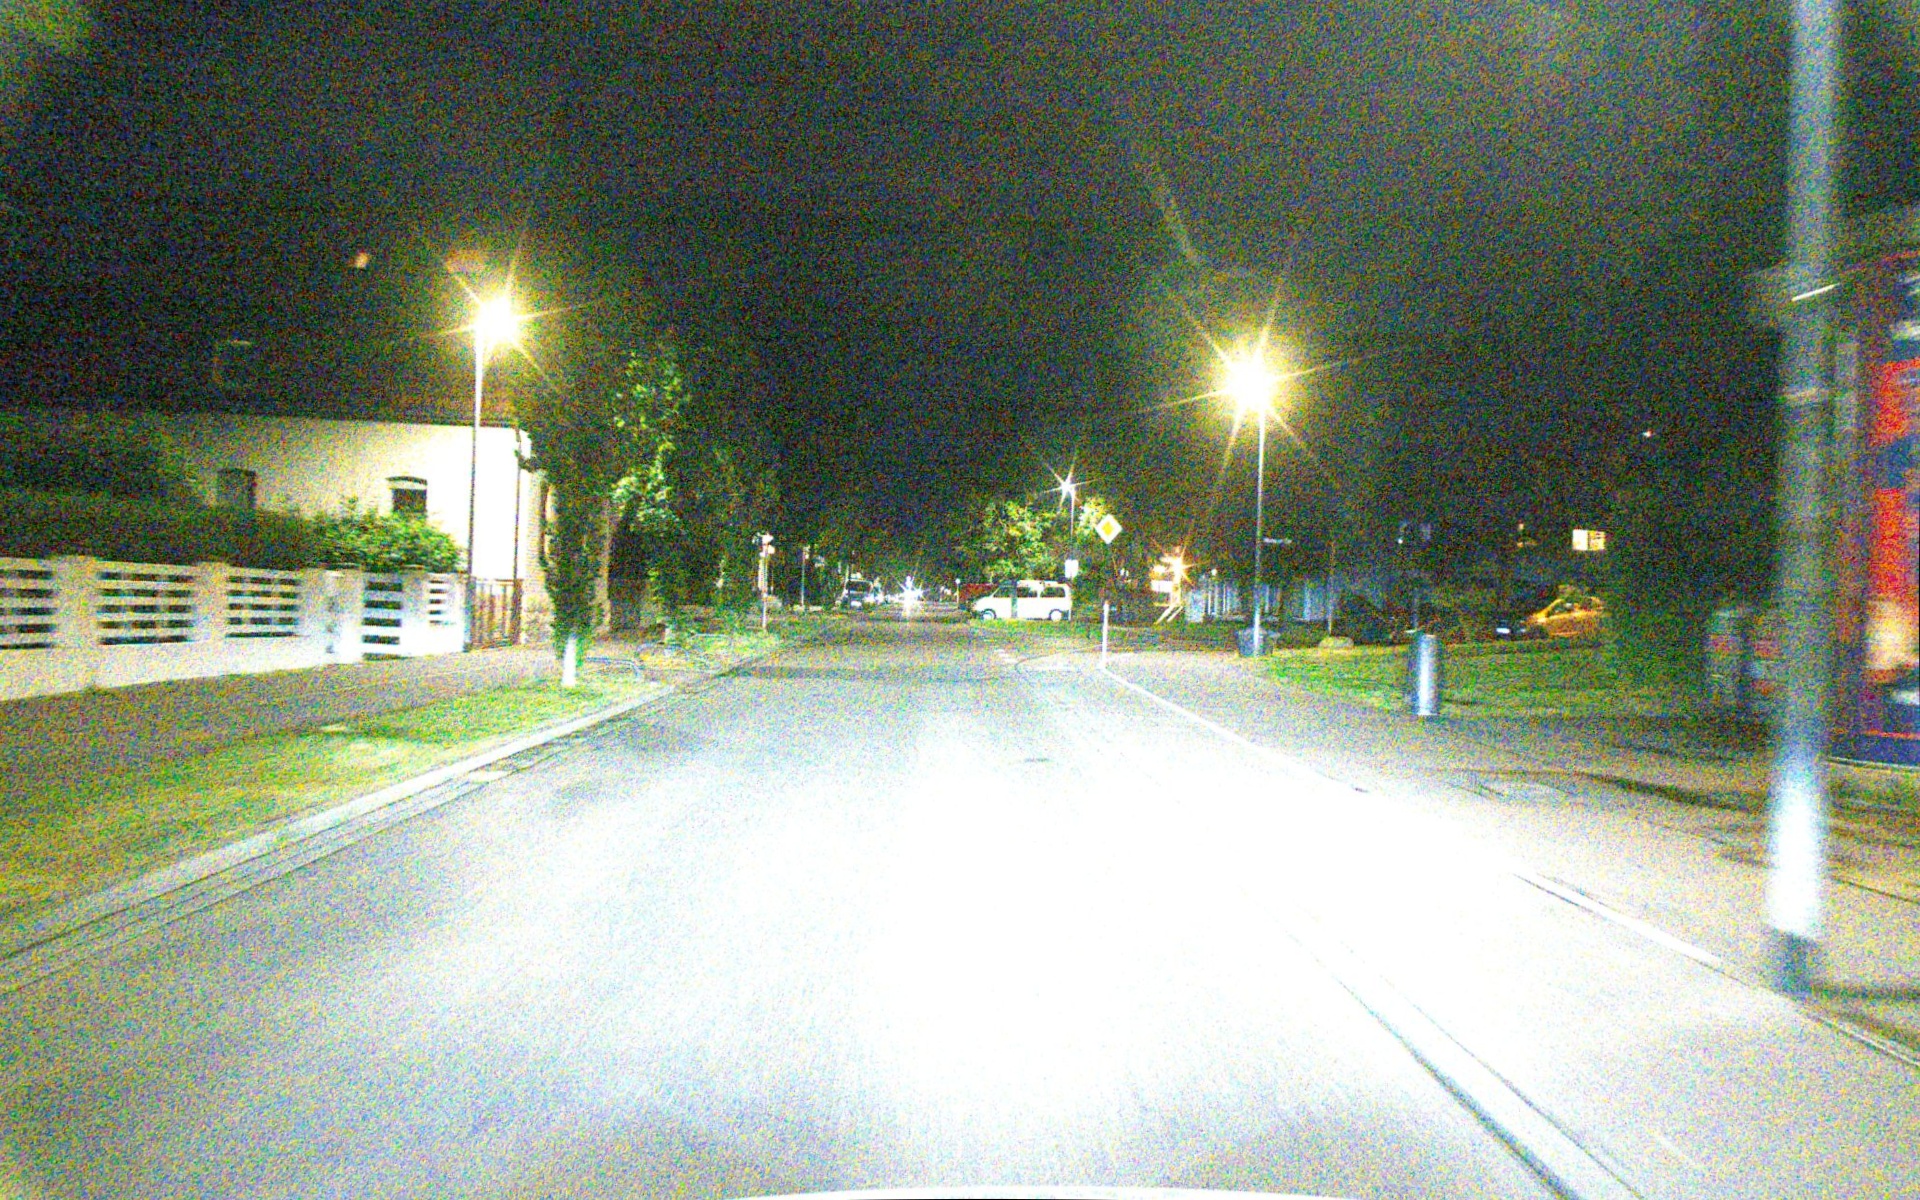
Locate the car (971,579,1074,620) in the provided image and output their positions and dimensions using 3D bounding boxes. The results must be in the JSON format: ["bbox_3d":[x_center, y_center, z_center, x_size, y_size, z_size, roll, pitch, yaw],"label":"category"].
[{"bbox_3d":[3.132,-0.024,83.732,5.078,2.049,2.101,0,0,-3],"label":"car"}]

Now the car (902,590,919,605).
[{"bbox_3d":[-5.845,-0.330,194.892,1.888,1.677,3.819,0,0,-2],"label":"car"}]

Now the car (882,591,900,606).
[{"bbox_3d":[-6.417,-0.165,153.234,1.649,1.354,3.598,1,0,-2],"label":"car"}]

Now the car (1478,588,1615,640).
[{"bbox_3d":[17.838,0.391,50.379,3.562,1.505,1.856,0,1,-17],"label":"car"}]

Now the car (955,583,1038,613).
[{"bbox_3d":[2.334,-0.137,105.315,5.072,1.920,2.103,0,0,8],"label":"car"}]

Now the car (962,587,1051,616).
[{"bbox_3d":[2.714,0.082,97.196,5.078,1.622,2.101,0,0,-3],"label":"car"}]

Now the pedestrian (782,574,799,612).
[{"bbox_3d":[-9.312,-0.406,90.816,0.769,2.048,1.204,3,0,-1],"label":"pedestrian"}]

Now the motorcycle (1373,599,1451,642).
[{"bbox_3d":[13.587,0.608,49.739,2.222,1.235,0.708,0,1,-17],"label":"motorcycle"}]

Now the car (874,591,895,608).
[{"bbox_3d":[-6.219,-0.075,136.700,1.649,1.354,3.598,1,0,-2],"label":"car"}]

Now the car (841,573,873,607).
[{"bbox_3d":[-6.449,-0.622,104.118,1.788,2.021,4.463,3,0,-2],"label":"car"}]

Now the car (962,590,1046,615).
[{"bbox_3d":[2.689,0.130,102.711,5.078,1.495,2.101,0,0,-3],"label":"car"}]

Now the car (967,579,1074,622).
[{"bbox_3d":[2.925,0.024,80.663,5.078,2.049,2.101,0,0,-3],"label":"car"}]
